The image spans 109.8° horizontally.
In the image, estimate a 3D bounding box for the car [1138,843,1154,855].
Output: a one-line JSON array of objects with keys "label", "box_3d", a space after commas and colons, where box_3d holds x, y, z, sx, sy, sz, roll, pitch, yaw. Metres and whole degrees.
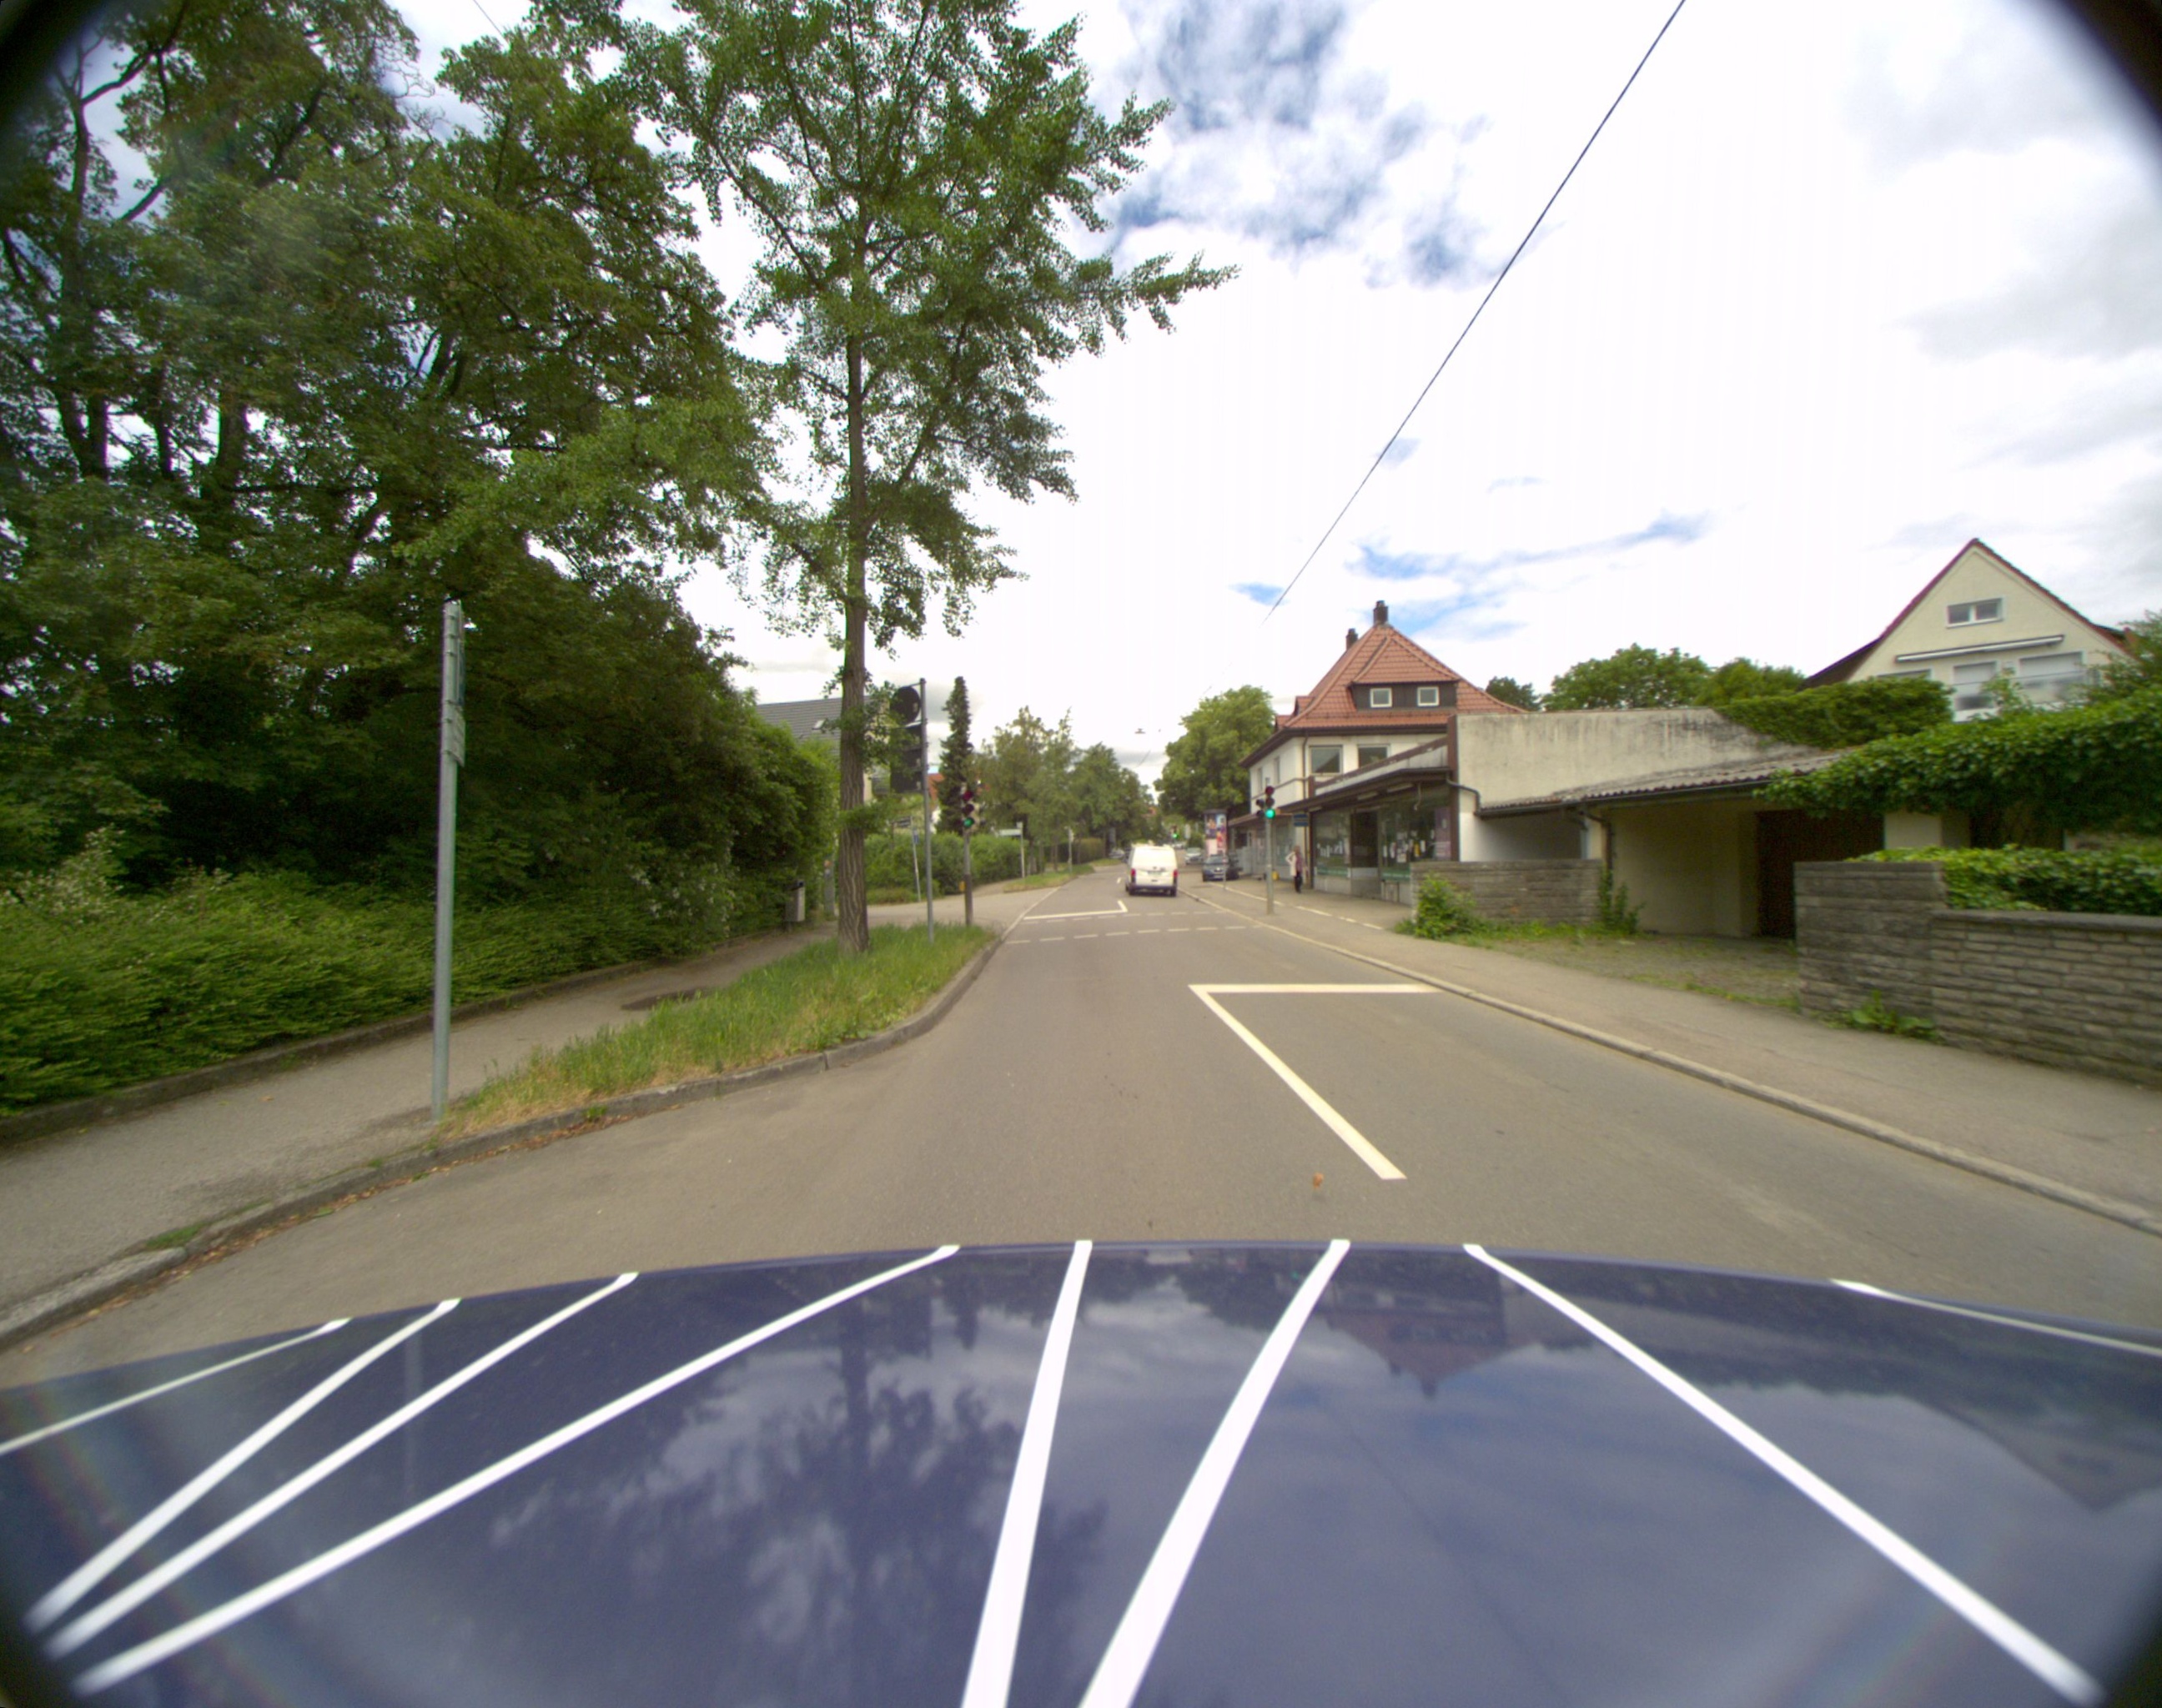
[{"label": "car", "box_3d": [9.837, -0.827, 114.927, 1.999, 1.687, 3.999, -3, 1, 0]}]

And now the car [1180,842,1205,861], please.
[{"label": "car", "box_3d": [10.954, -0.266, 74.877, 1.771, 1.668, 3.999, -3, 1, 0]}]

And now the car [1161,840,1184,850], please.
[{"label": "car", "box_3d": [16.975, -1.705, 140.982, 3.993, 1.729, 2.001, -3, 1, 13]}]

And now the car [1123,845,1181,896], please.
[{"label": "car", "box_3d": [2.830, 0.578, 31.154, 1.885, 1.905, 4.832, 0, 1, 0]}]

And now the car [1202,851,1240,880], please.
[{"label": "car", "box_3d": [7.524, 0.584, 40.850, 1.822, 1.344, 3.393, -3, 1, 11]}]

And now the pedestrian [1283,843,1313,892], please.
[{"label": "pedestrian", "box_3d": [7.829, 0.483, 27.467, 0.822, 1.735, 0.604, -3, 1, 1]}]
